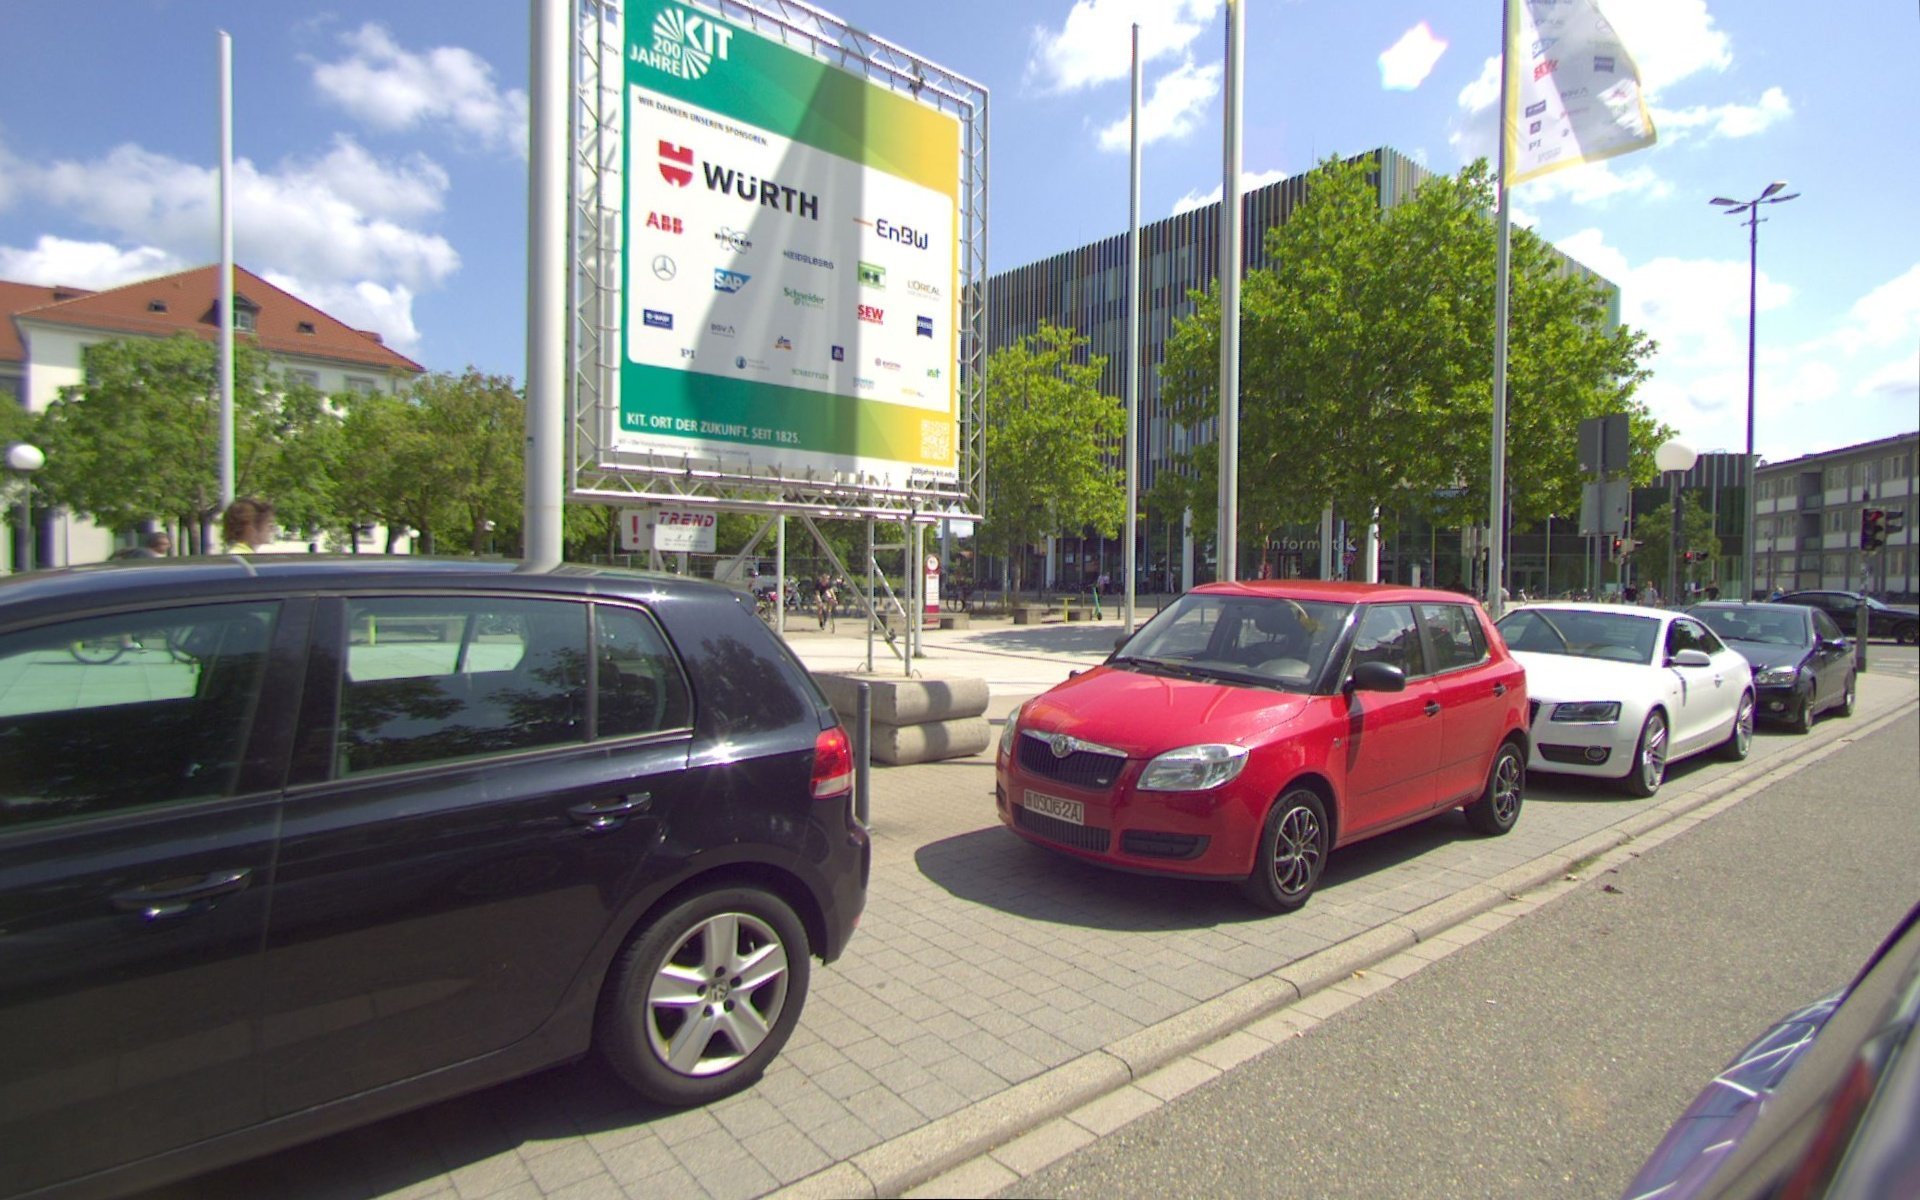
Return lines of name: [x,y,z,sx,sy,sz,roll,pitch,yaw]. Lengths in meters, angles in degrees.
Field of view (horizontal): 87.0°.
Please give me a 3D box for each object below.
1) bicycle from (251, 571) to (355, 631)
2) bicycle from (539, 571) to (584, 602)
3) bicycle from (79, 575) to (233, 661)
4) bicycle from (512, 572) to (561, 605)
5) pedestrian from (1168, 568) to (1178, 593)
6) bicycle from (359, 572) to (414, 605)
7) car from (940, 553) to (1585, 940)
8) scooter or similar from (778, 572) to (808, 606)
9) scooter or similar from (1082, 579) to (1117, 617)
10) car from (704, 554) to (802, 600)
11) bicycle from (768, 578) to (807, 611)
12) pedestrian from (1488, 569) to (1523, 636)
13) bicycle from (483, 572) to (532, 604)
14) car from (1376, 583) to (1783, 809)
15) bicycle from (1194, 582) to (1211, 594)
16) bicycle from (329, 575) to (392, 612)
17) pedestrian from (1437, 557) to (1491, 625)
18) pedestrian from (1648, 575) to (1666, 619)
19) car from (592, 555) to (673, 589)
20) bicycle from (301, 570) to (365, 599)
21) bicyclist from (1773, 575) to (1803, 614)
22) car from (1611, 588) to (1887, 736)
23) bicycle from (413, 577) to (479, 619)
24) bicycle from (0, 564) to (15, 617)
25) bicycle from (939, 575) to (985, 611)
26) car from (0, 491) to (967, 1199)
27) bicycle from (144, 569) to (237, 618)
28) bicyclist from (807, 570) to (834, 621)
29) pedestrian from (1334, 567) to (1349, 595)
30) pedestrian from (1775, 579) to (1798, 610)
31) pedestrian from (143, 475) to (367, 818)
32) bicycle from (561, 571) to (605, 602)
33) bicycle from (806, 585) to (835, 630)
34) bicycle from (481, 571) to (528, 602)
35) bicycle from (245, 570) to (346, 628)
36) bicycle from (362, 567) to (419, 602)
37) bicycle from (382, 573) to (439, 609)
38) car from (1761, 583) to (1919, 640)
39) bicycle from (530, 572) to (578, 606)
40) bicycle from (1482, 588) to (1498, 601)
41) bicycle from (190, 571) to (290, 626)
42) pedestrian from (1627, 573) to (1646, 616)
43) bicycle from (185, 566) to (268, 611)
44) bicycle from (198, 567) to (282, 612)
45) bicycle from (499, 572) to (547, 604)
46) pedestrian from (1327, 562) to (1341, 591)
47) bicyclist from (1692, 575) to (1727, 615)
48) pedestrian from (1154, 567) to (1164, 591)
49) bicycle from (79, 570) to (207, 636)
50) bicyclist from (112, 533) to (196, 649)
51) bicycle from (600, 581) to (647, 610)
bicycle: [-13.114,-0.010,20.260,0.596,1.112,1.758,0,3,18]
bicycle: [-15.325,-0.545,38.971,0.596,1.112,1.758,0,3,19]
bicycle: [-11.409,0.251,14.435,1.660,1.152,0.682,2,1,-36]
bicycle: [-15.285,-0.423,36.582,0.596,1.112,1.758,0,3,19]
pedestrian: [16.467,-1.519,78.168,0.552,1.864,0.553,2,2,42]
bicycle: [-20.595,-0.425,36.359,0.596,1.112,1.758,0,3,18]
car: [1.993,0.560,5.963,4.073,1.515,1.618,0,3,-40]
scooter or similar: [-6.270,-0.439,38.074,0.279,1.248,1.282,3,3,35]
scooter or similar: [4.449,-0.074,32.365,0.347,1.179,1.191,-2,3,-39]
car: [-8.995,-1.039,43.667,1.872,1.887,4.932,-1,3,-42]
bicycle: [-6.215,-0.211,36.523,0.596,1.112,1.758,0,3,19]
pedestrian: [15.260,0.071,28.323,0.599,1.823,0.595,2,0,1]
bicycle: [-16.584,-0.443,37.141,0.596,1.112,1.758,0,3,19]
car: [5.586,0.624,8.882,4.361,1.416,1.722,0,4,-41]
bicycle: [17.845,-0.889,74.488,1.518,0.785,0.373,-2,3,-37]
bicycle: [-19.104,-0.228,32.306,0.596,1.112,1.758,0,3,18]
pedestrian: [14.515,-0.250,29.141,1.154,1.842,0.856,5,0,-39]
pedestrian: [29.945,-0.128,43.484,0.571,1.864,0.411,1,2,34]
car: [-18.576,-1.623,57.477,3.934,1.804,1.996,-3,4,-43]
bicycle: [-20.049,-0.511,32.419,0.596,0.880,1.758,0,3,18]
bicyclist: [33.626,-0.225,41.117,0.778,1.557,0.651,1,1,26]
car: [9.926,0.610,12.580,4.861,1.417,1.722,0,4,-41]
bicycle: [-14.621,-0.080,28.825,0.596,1.112,1.758,0,3,18]
bicycle: [-20.623,-0.167,20.741,0.596,1.112,1.758,0,3,18]
bicycle: [0.059,-0.269,36.533,0.784,1.197,2.034,-1,3,-29]
car: [-2.034,0.551,2.604,3.929,1.548,1.723,0,2,-40]
bicycle: [-18.639,-0.184,24.559,0.596,1.112,1.758,0,3,18]
bicyclist: [-3.788,-0.122,27.444,0.595,1.337,0.744,2,0,-14]
pedestrian: [25.682,-1.286,68.136,0.678,1.864,0.679,-1,2,-32]
pedestrian: [49.312,-0.357,60.371,0.833,1.812,0.673,1,1,20]
pedestrian: [-4.098,0.223,5.872,0.984,1.761,0.920,0,1,-40]
bicycle: [-14.366,-0.531,38.575,0.596,1.112,1.758,0,3,19]
bicycle: [-3.796,0.199,27.441,0.595,1.152,1.591,2,1,-14]
bicycle: [-17.382,-0.514,38.627,0.585,1.112,1.758,0,3,18]
bicycle: [-13.819,-0.039,21.093,0.596,1.112,1.758,0,3,18]
bicycle: [-19.344,-0.551,34.417,0.596,1.112,1.758,0,3,18]
bicycle: [-18.474,-0.322,34.055,0.596,1.112,1.758,0,3,18]
car: [25.574,0.288,28.685,1.796,1.433,4.191,-2,2,-35]
bicycle: [-14.510,-0.410,36.239,0.596,1.112,1.758,0,3,19]
bicycle: [32.273,-0.336,61.616,0.522,0.773,1.764,1,2,17]
bicycle: [-15.676,-0.061,22.083,0.596,1.112,1.758,0,3,18]
pedestrian: [29.285,-0.245,43.829,0.629,1.864,0.474,1,2,36]
bicycle: [-19.535,-0.322,27.006,0.596,1.112,1.758,0,3,18]
bicycle: [-18.808,-0.300,26.487,0.596,1.112,1.758,0,3,18]
bicycle: [-15.951,-0.454,36.995,0.596,1.112,1.758,0,3,19]
pedestrian: [24.808,-1.549,67.115,0.777,1.865,0.515,1,1,15]
bicyclist: [31.151,-0.233,42.079,0.987,1.635,0.653,1,1,21]
pedestrian: [15.677,-1.644,79.609,0.552,1.864,0.553,2,2,42]
bicycle: [-14.918,0.024,18.539,0.596,1.112,1.758,0,3,18]
bicyclist: [-11.447,-0.125,14.405,0.862,1.588,0.682,2,0,-35]
bicycle: [-10.761,-0.154,32.451,0.478,0.879,1.757,0,1,19]
